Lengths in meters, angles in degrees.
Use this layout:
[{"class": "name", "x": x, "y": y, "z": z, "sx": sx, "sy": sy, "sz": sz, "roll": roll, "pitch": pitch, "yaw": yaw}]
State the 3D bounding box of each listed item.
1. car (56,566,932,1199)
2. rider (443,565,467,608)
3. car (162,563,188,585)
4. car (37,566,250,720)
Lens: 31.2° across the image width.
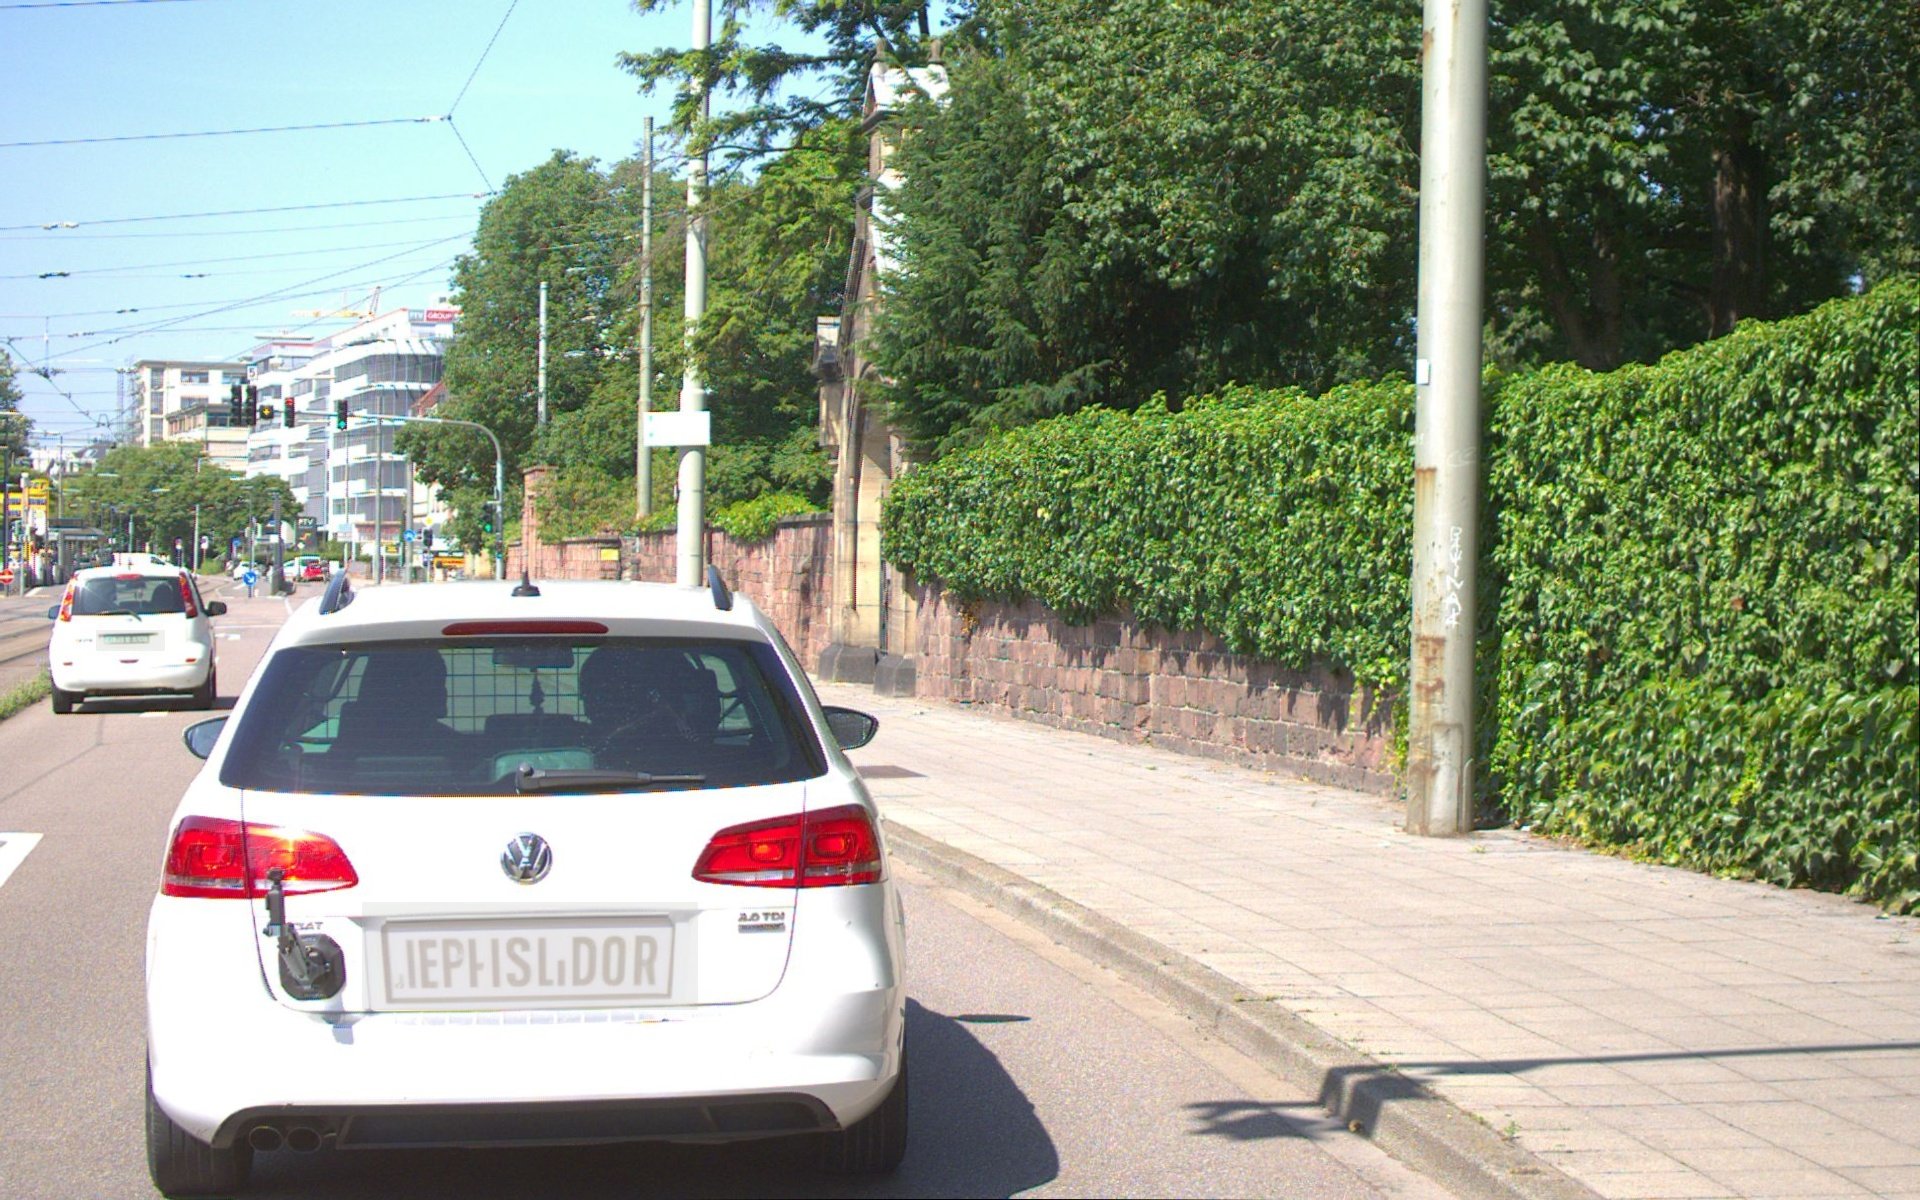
[{"class": "car", "x": -1.134, "y": 0.658, "z": 8.969, "sx": 1.778, "sy": 1.485, "sz": 3.847, "roll": 0, "pitch": 1, "yaw": -6}, {"class": "rider", "x": -20.467, "y": -0.539, "z": 139.237, "sx": 0.891, "sy": 1.722, "sz": 2.204, "roll": 0, "pitch": 0, "yaw": -10}, {"class": "car", "x": -54.674, "y": -1.816, "z": 239.564, "sx": 1.698, "sy": 1.585, "sz": 3.536, "roll": 0, "pitch": 1, "yaw": -12}, {"class": "car", "x": -8.912, "y": 0.427, "z": 37.801, "sx": 1.730, "sy": 1.591, "sz": 4.012, "roll": 0, "pitch": 1, "yaw": -5}]
